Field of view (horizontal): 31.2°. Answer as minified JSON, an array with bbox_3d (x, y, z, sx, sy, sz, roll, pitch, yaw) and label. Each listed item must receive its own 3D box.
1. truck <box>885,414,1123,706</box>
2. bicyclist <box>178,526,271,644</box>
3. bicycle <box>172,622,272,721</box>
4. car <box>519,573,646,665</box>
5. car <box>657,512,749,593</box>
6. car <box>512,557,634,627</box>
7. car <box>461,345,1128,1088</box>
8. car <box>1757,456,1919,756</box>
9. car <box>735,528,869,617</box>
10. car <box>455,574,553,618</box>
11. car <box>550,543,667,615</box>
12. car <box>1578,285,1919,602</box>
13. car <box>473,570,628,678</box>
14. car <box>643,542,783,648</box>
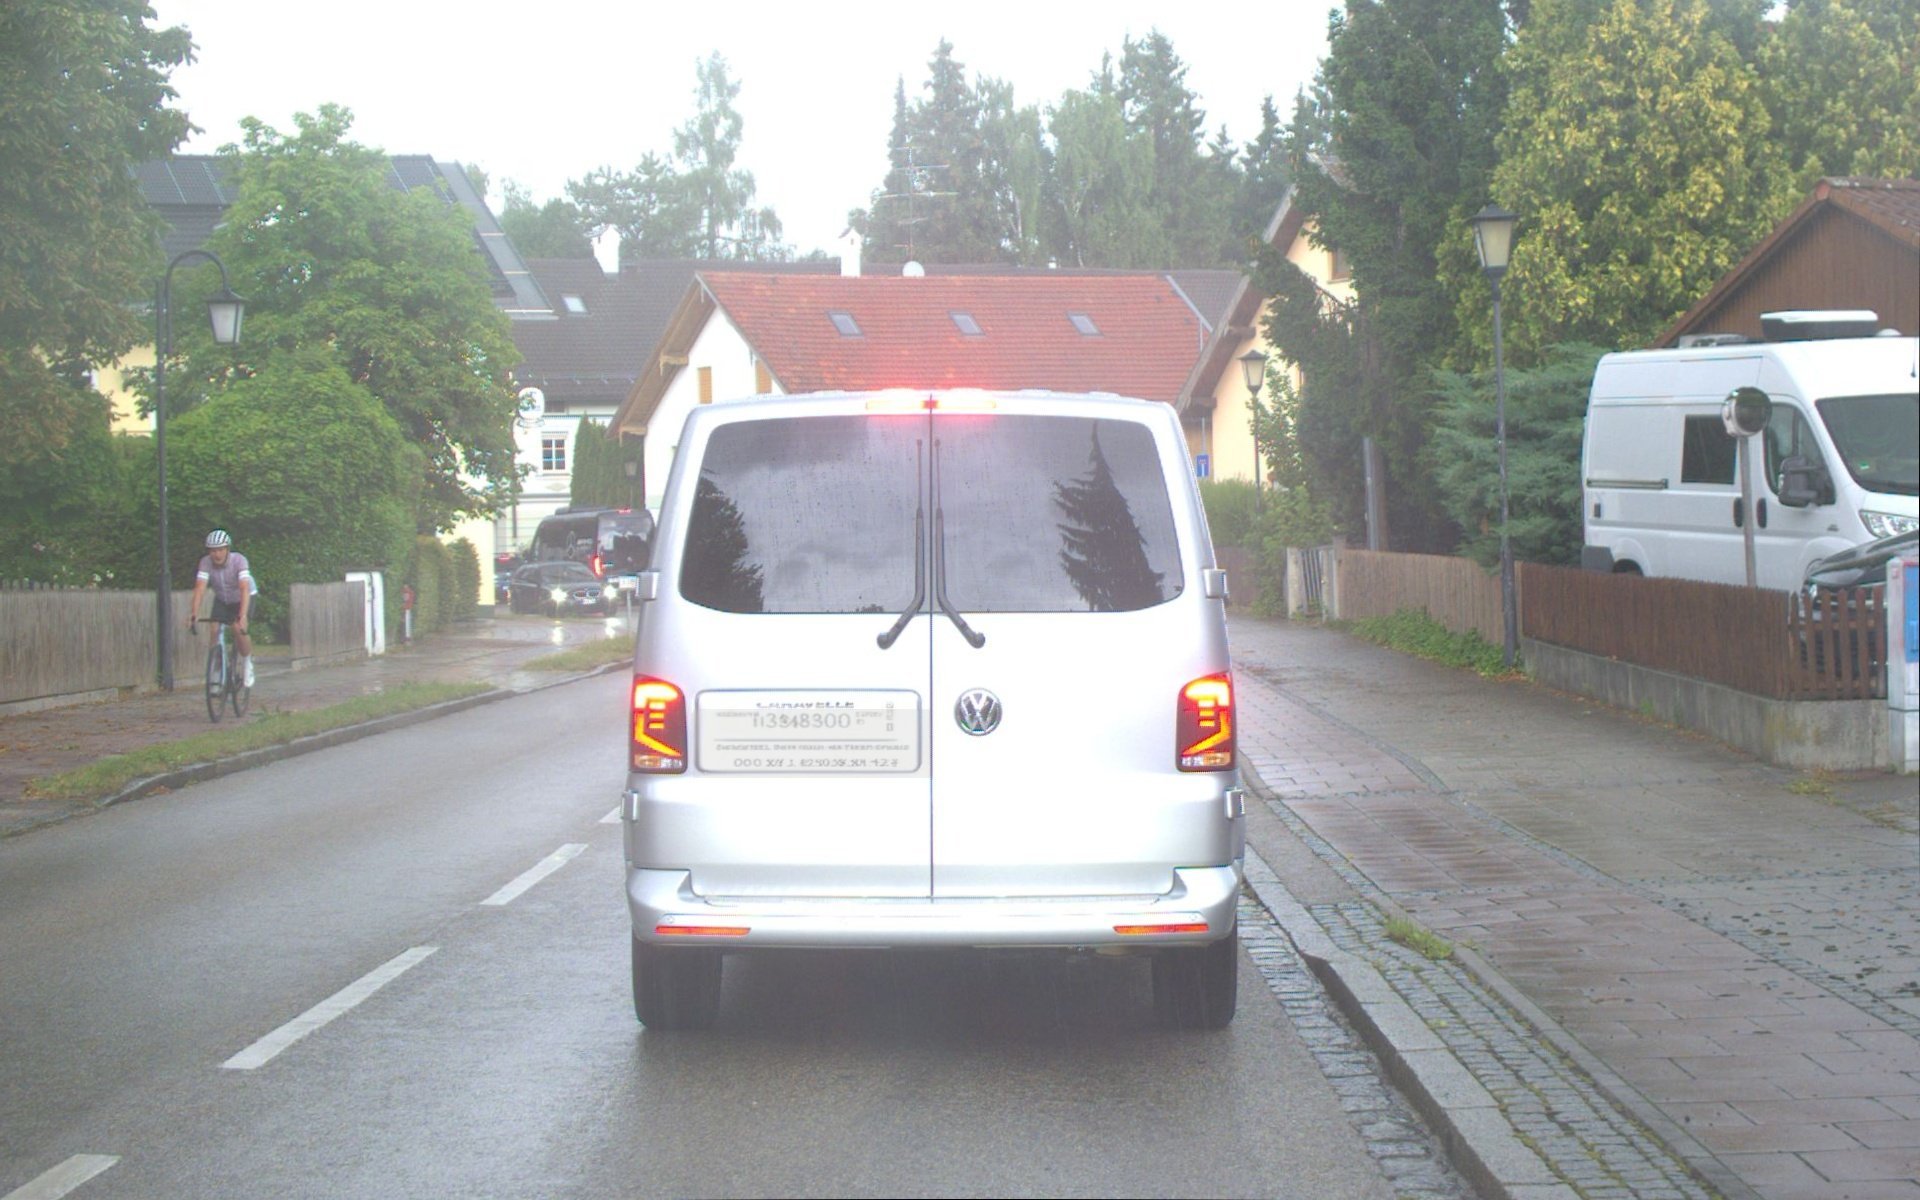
[{"bbox_3d":[0.461,-0.432,39.719,2.475,3.063,6.296,1,0,0],"label":"truck"},{"bbox_3d":[-6.441,-0.136,30.129,0.587,1.018,1.060,0,1,0],"label":"bicyclist"},{"bbox_3d":[-6.441,0.613,30.084,0.456,0.796,1.977,0,1,0],"label":"bicycle"},{"bbox_3d":[-6.099,0.295,55.892,1.618,1.439,3.670,1,0,1],"label":"car"},{"bbox_3d":[-6.705,-1.219,89.450,1.993,2.007,4.001,1,0,-10],"label":"car"},{"bbox_3d":[-9.828,-0.213,87.101,1.993,1.697,4.001,1,0,-23],"label":"car"},{"bbox_3d":[-0.364,0.313,11.463,1.801,2.007,4.000,1,0,3],"label":"car"},{"bbox_3d":[7.203,-0.025,21.303,4.093,1.745,1.695,-1,3,-3],"label":"car"},{"bbox_3d":[-3.768,-0.653,81.445,1.993,2.007,4.001,1,0,-21],"label":"car"},{"bbox_3d":[-13.998,-0.132,105.364,1.780,1.306,3.776,1,0,-27],"label":"car"},{"bbox_3d":[-9.800,-0.590,95.590,1.993,1.920,4.001,1,0,-25],"label":"car"},{"bbox_3d":[6.678,-1.088,26.354,1.993,2.166,4.954,1,0,-13],"label":"car"},{"bbox_3d":[-5.720,0.323,48.354,1.618,1.439,3.670,1,0,2],"label":"car"},{"bbox_3d":[-3.759,-0.078,52.900,1.827,1.553,4.177,-1,0,0],"label":"car"}]
